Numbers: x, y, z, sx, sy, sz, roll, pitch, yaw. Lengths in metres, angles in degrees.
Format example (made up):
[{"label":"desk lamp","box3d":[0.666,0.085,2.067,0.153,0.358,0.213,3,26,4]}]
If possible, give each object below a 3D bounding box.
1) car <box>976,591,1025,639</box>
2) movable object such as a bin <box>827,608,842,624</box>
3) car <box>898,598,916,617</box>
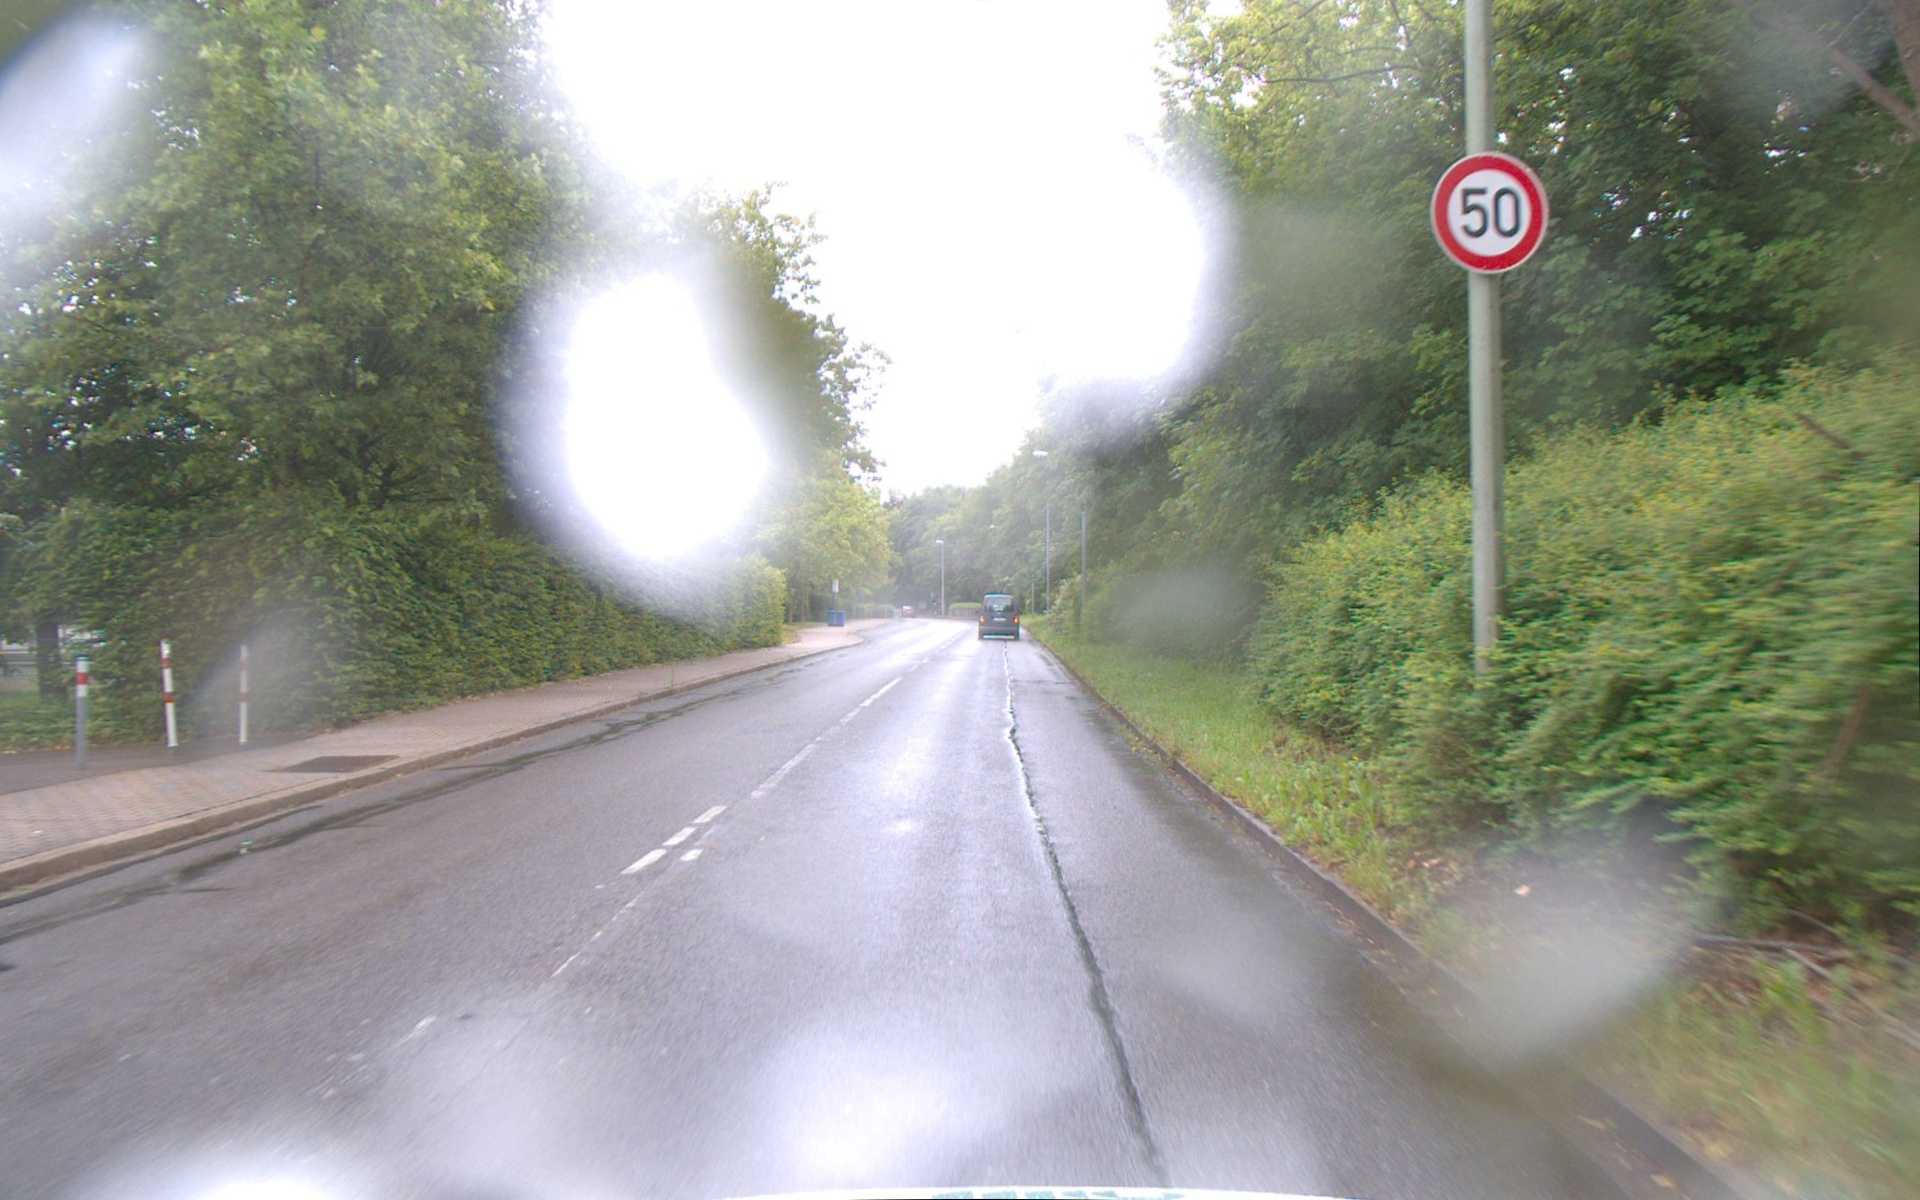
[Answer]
[{"label":"car","box3d":[1.742,0.613,70.161,1.952,1.825,4.002,2,2,2]},{"label":"movable object such as a bin","box3d":[-8.660,1.088,114.185,0.659,1.044,0.826,-2,0,-30]},{"label":"car","box3d":[-6.205,0.874,195.125,1.953,2.049,3.999,2,0,-1]}]
